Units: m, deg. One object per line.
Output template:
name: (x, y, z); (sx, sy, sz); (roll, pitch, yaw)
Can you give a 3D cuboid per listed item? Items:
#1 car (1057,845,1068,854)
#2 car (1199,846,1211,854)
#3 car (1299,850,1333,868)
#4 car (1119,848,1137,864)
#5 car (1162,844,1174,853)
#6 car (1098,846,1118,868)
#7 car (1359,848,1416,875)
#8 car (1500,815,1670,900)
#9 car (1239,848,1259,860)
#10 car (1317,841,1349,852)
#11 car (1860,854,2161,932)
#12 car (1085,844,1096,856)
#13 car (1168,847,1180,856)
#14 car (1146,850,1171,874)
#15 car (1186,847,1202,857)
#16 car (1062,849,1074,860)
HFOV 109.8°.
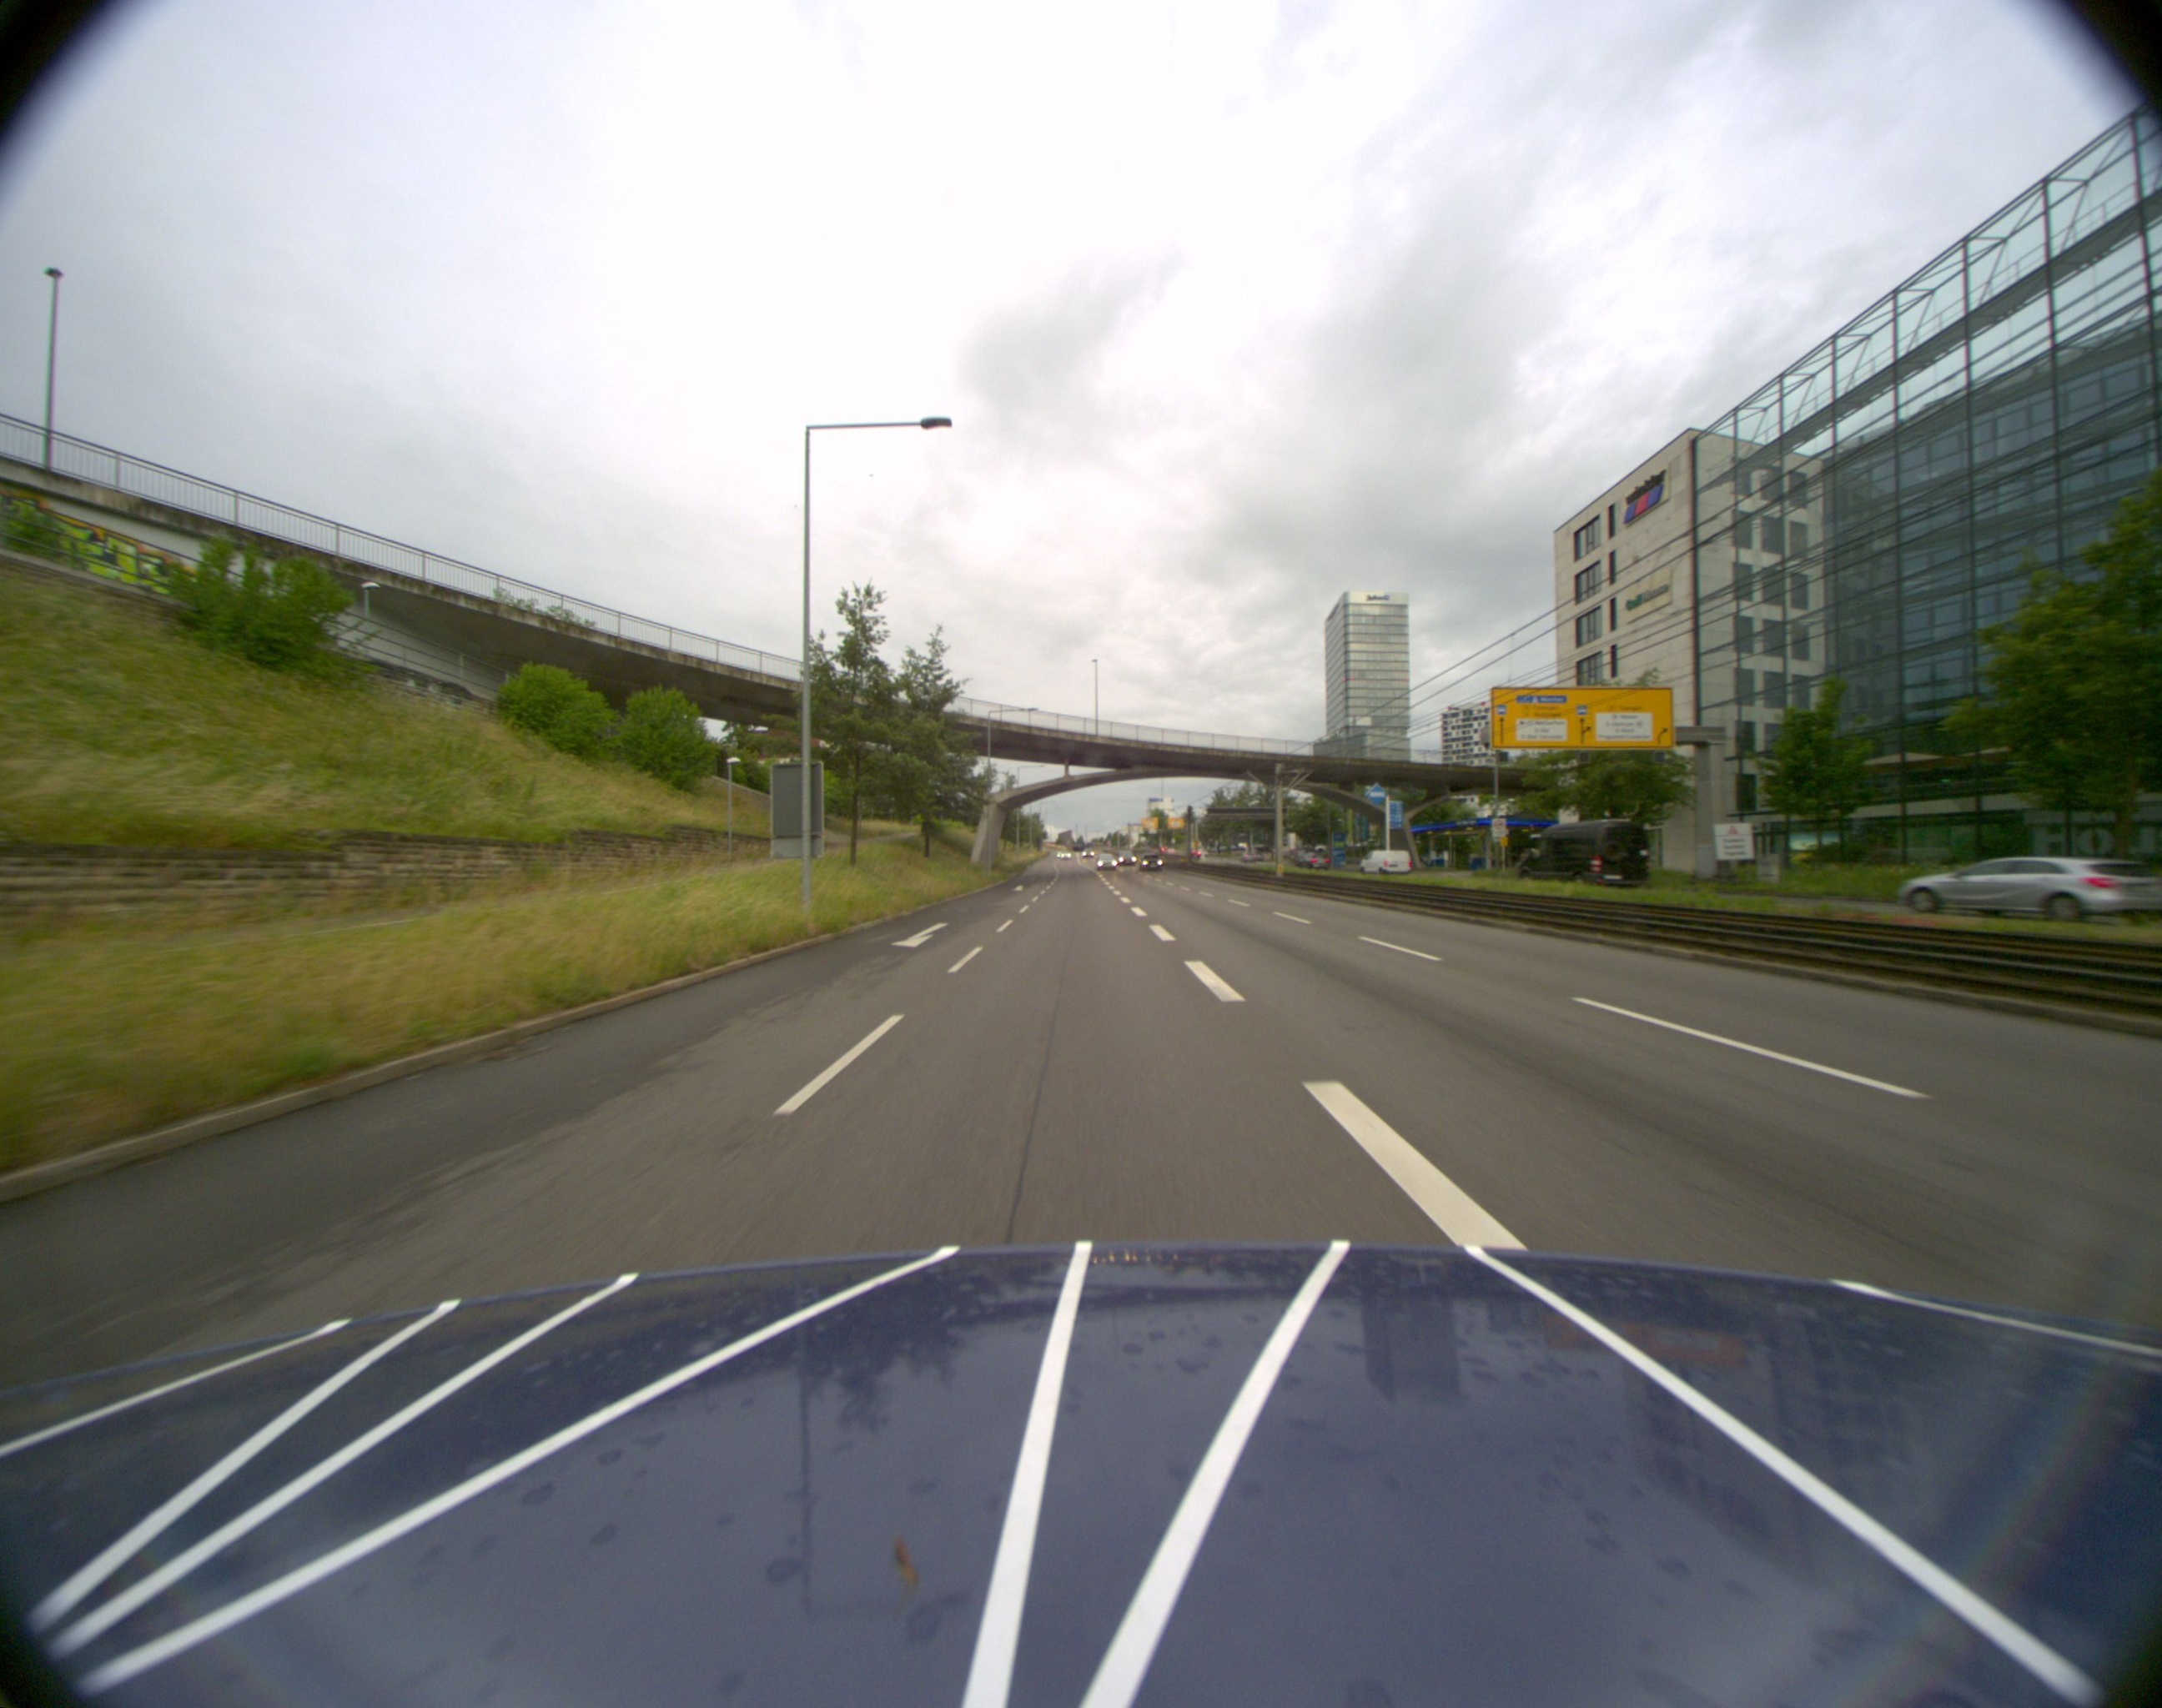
car: (-3.638, -0.864, 151.052); (1.794, 1.622, 4.376); (-2, 2, 2)
car: (25.158, -0.865, 154.333); (1.925, 1.488, 4.657); (2, 0, 2)
car: (22.157, 0.445, 71.799); (1.814, 1.597, 4.491); (-2, 0, 1)
car: (5.156, 0.186, 83.794); (1.794, 1.536, 4.376); (-2, 2, 2)
car: (18.808, -1.098, 164.573); (1.925, 1.766, 4.223); (-4, 0, -3)
car: (2.583, 0.236, 72.636); (1.794, 1.858, 4.376); (-2, 2, 2)
car: (21.678, 0.479, 54.012); (1.942, 1.751, 5.061); (-2, 0, 0)
car: (18.592, 0.098, 28.489); (2.390, 2.801, 5.609); (-2, 1, -3)
car: (23.146, 0.001, 104.627); (1.814, 1.524, 4.274); (-2, 0, 0)
car: (38.876, -1.135, 117.296); (4.363, 1.495, 1.885); (-2, 2, 3)
car: (21.744, 0.787, 17.897); (1.764, 1.524, 4.816); (-2, 0, -1)
car: (1.719, -0.721, 135.477); (1.794, 1.858, 4.376); (-2, 2, 2)
car: (18.502, -0.514, 151.724); (1.768, 1.588, 4.792); (-2, 0, 1)
car: (6.735, 0.672, 66.433); (1.794, 1.858, 4.376); (-2, 2, 2)
car: (18.357, -0.272, 123.717); (1.814, 1.524, 4.868); (-2, 0, -1)
car: (-2.175, 0.051, 130.571); (1.794, 1.622, 4.376); (-2, 2, 2)
